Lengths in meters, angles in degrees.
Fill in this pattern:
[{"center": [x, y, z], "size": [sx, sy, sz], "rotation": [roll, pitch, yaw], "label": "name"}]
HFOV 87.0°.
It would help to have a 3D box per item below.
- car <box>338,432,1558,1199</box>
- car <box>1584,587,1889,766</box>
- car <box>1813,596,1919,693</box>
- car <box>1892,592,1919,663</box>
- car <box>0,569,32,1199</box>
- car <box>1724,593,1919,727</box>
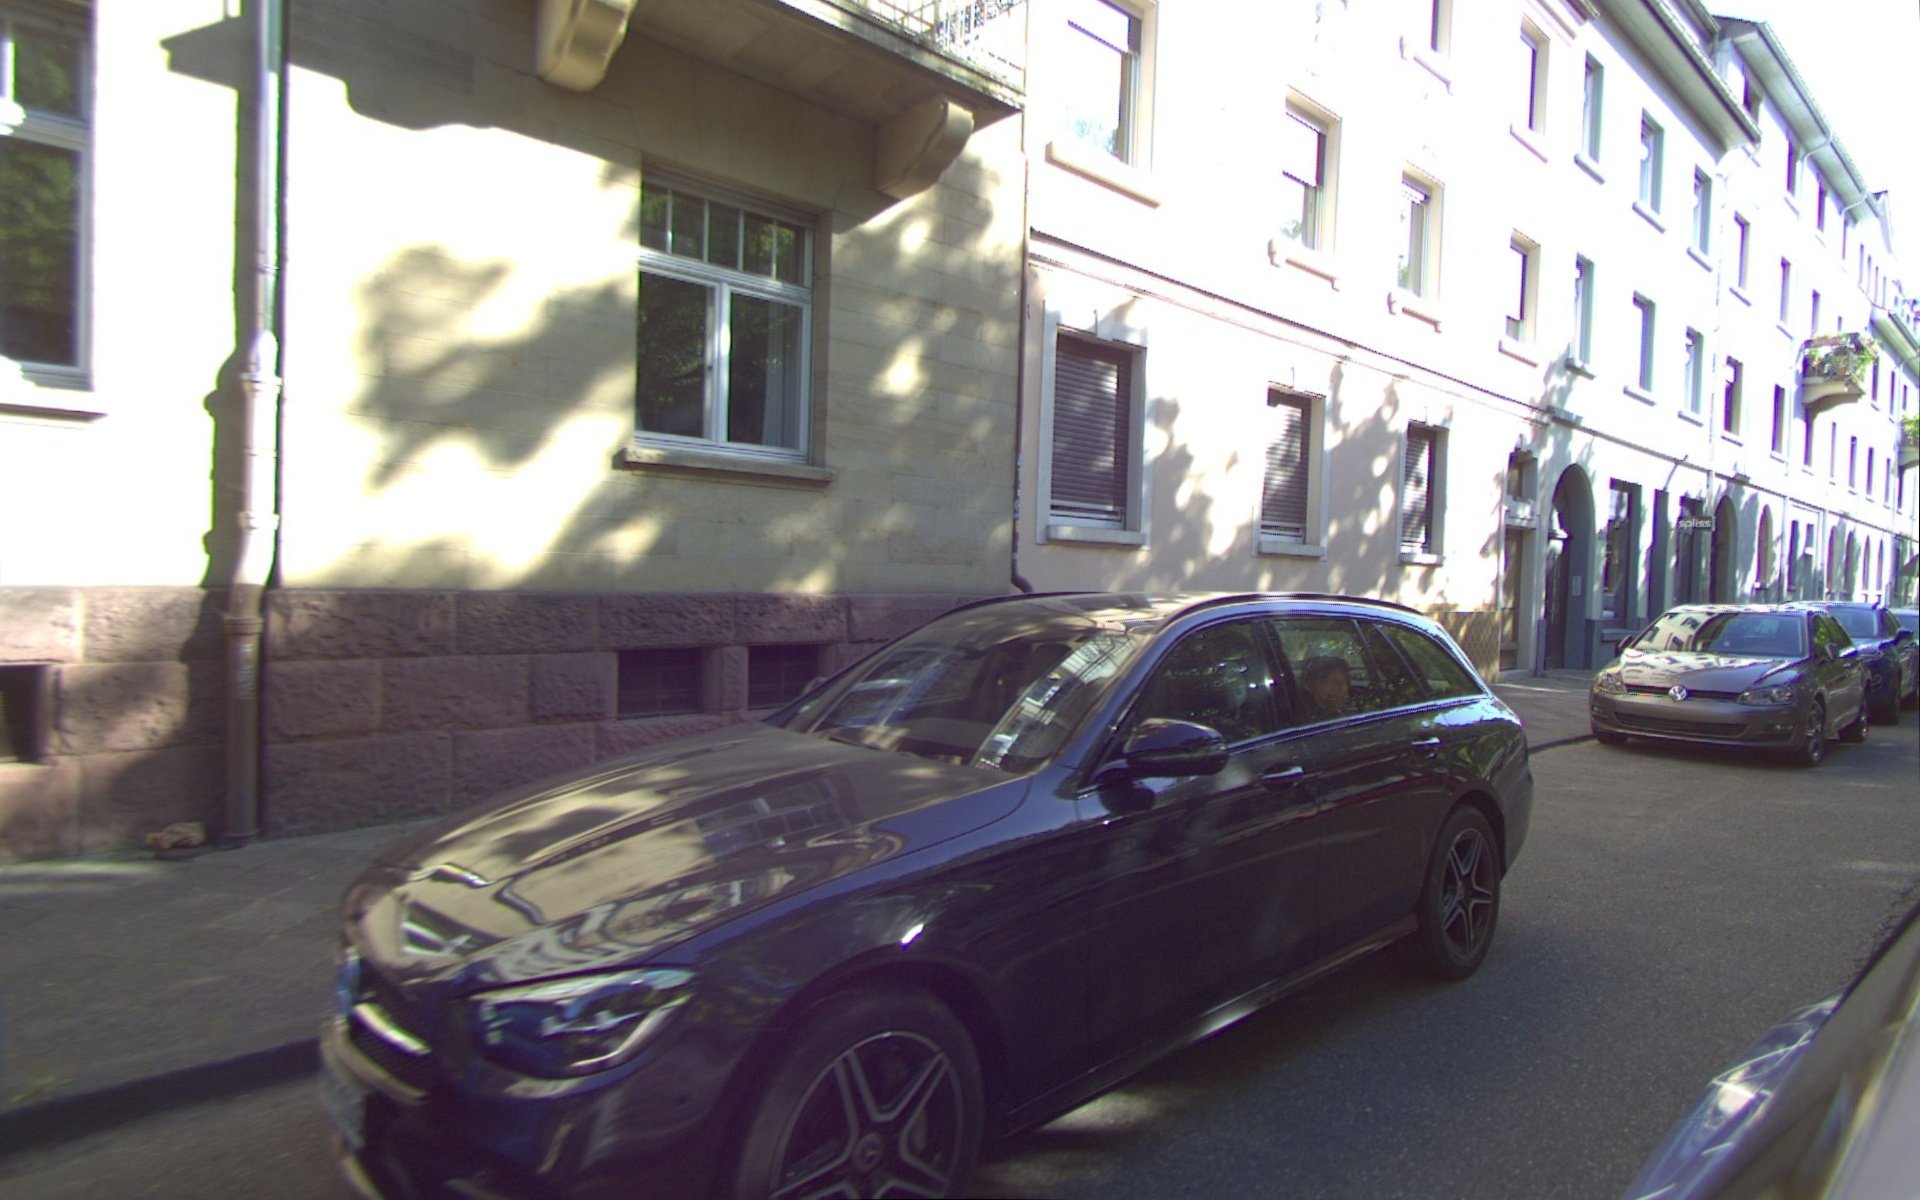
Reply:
[{"center": [0.391, 0.487, 3.648], "size": [4.246, 1.583, 1.808], "rotation": [0, 3, -42], "label": "car"}, {"center": [8.028, 0.620, 10.335], "size": [3.934, 1.486, 1.695], "rotation": [0, 1, -40], "label": "car"}, {"center": [15.926, 0.668, 16.991], "size": [4.215, 1.449, 1.773], "rotation": [0, 1, -40], "label": "car"}, {"center": [23.048, 0.613, 23.446], "size": [3.969, 1.570, 1.584], "rotation": [0, 1, -39], "label": "car"}, {"center": [-3.111, 0.667, 0.673], "size": [3.567, 1.433, 1.593], "rotation": [0, 0, -39], "label": "car"}, {"center": [12.116, 0.690, 13.912], "size": [4.111, 1.571, 1.770], "rotation": [0, 0, -41], "label": "car"}]
